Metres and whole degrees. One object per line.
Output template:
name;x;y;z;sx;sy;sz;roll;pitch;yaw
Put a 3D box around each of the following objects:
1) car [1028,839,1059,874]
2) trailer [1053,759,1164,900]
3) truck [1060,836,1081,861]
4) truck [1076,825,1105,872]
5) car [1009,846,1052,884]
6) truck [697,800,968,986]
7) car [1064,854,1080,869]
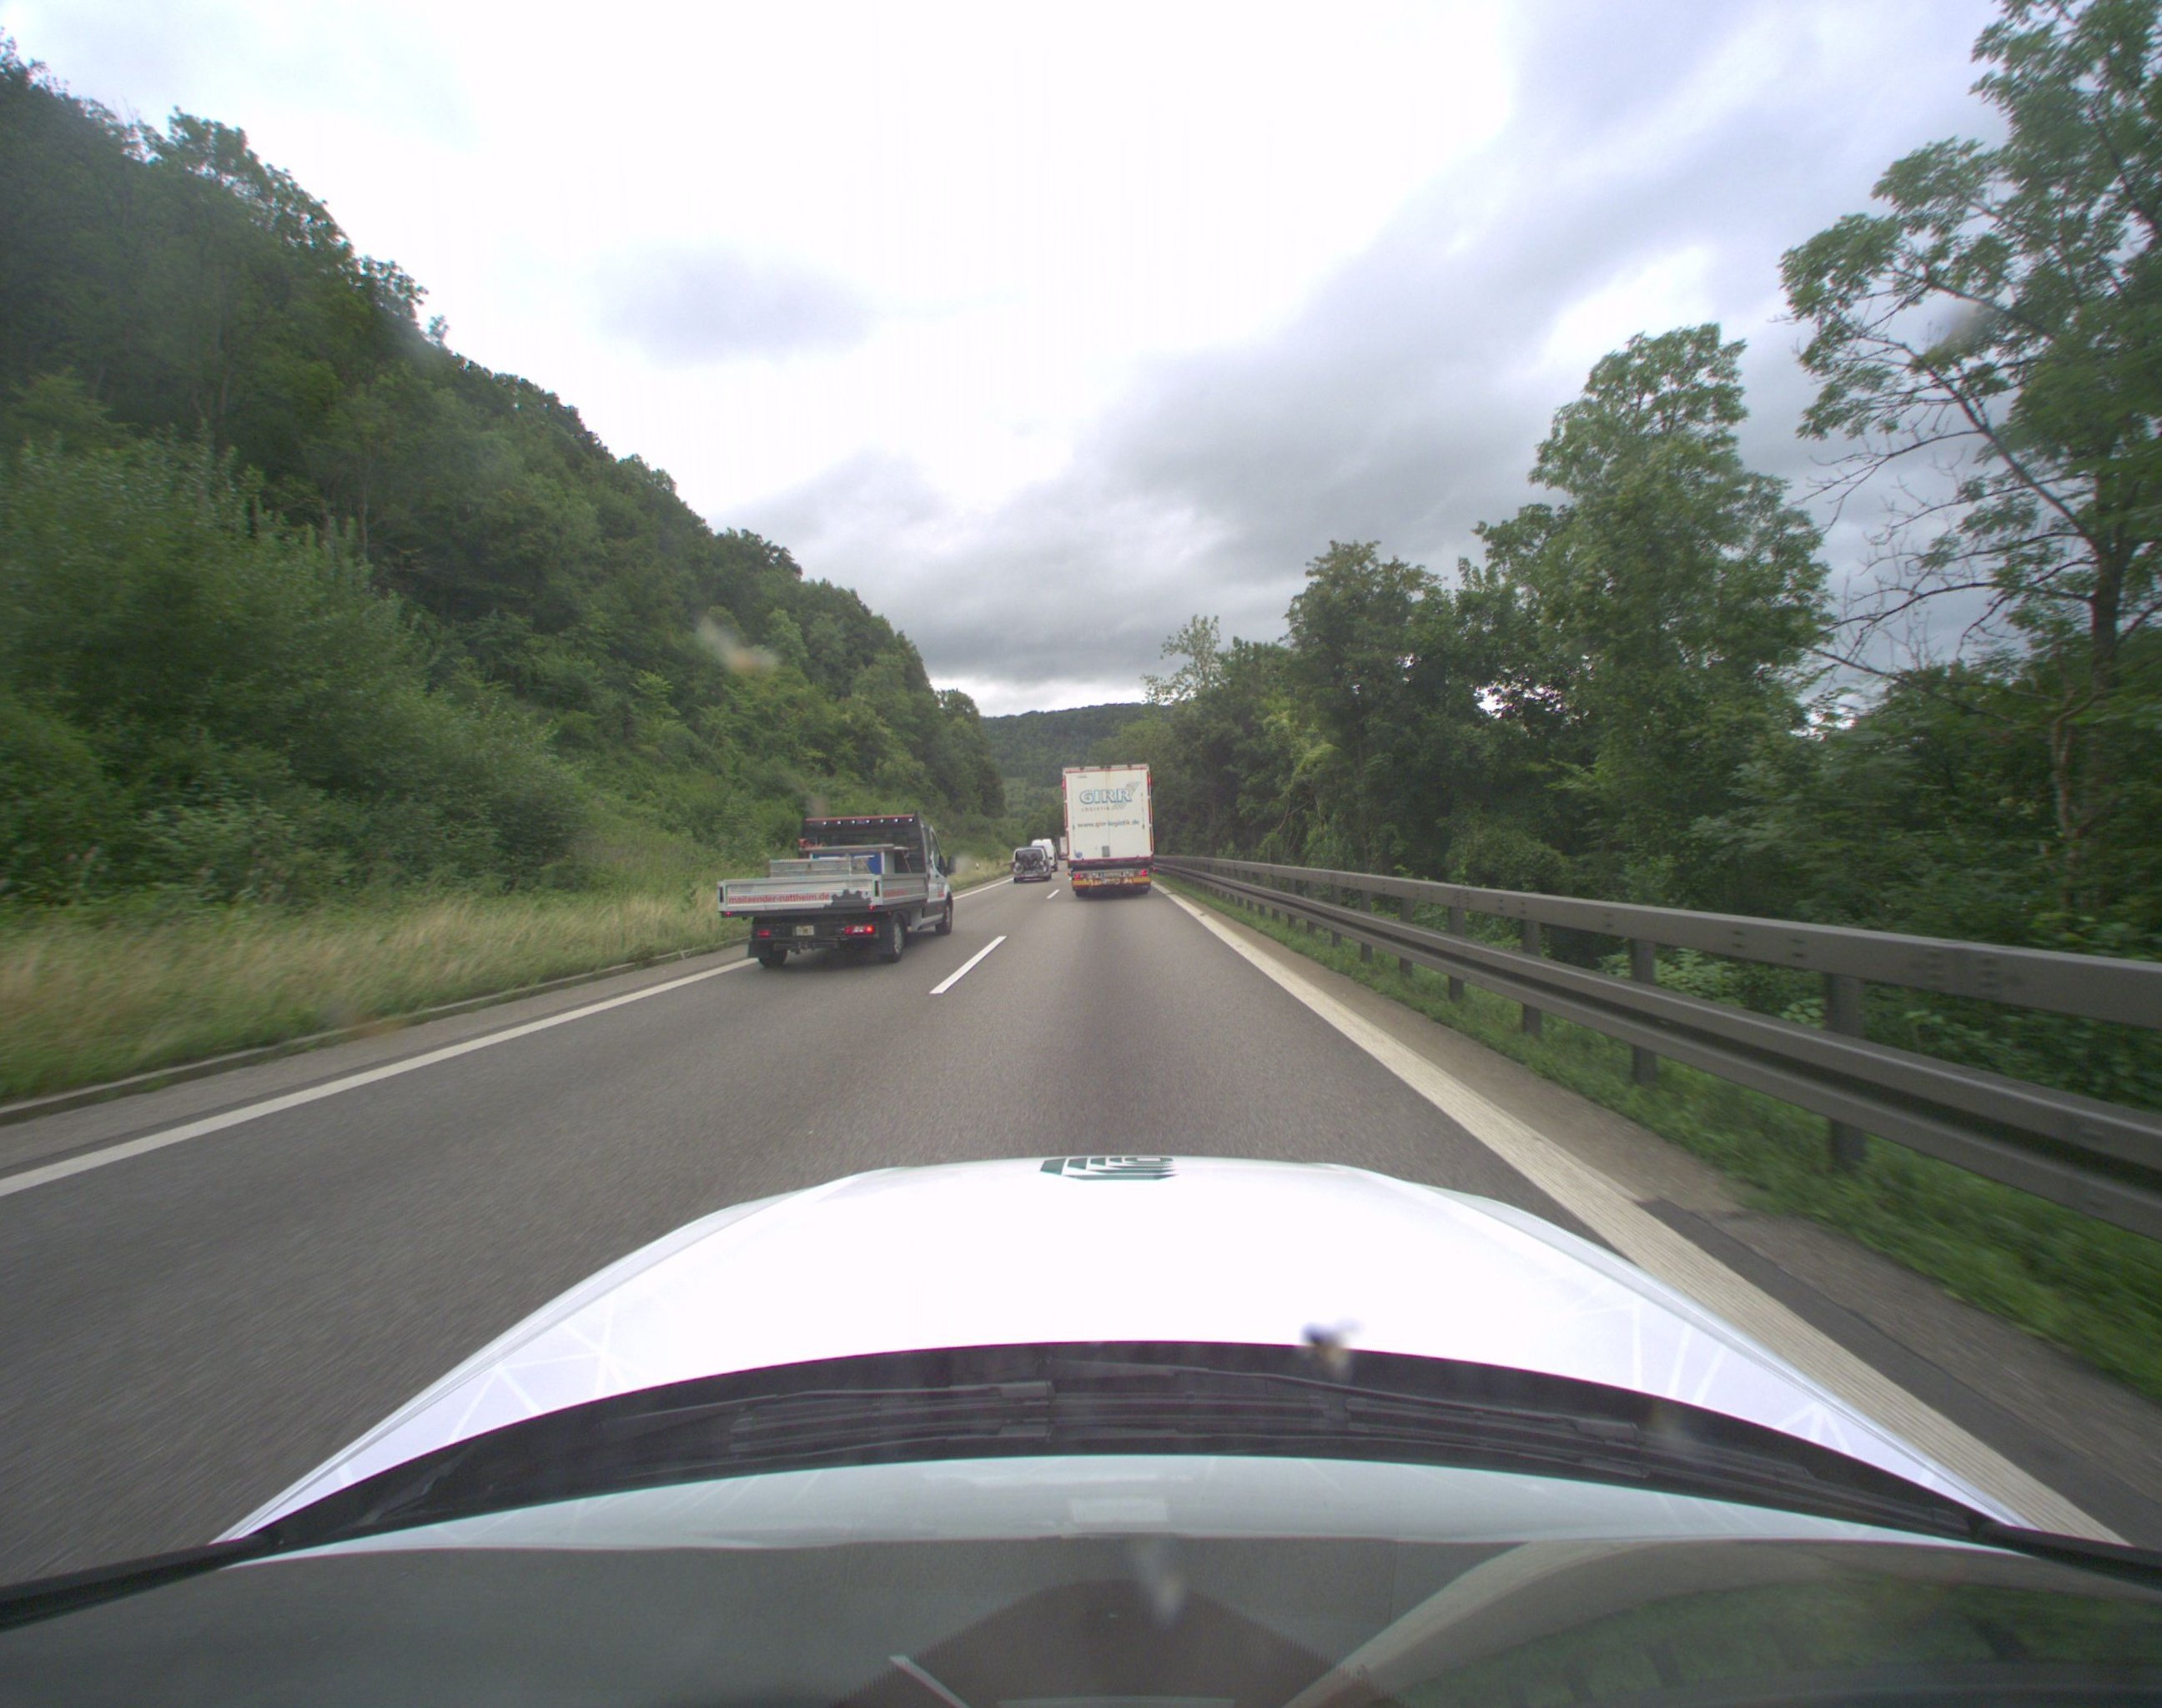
car;-2.912;0.171;65.194;2.117;2.598;5.562;-3;0;-1
trailer;0.982;-0.745;28.277;3.121;4.042;9.445;-1;0;2
truck;-1.852;-0.890;139.137;3.062;3.877;8.447;-2;0;-3
truck;0.767;-0.447;69.804;2.227;3.803;6.820;-2;0;-1
car;-2.721;0.549;45.077;2.012;1.914;5.562;-2;0;-1
truck;-3.639;0.479;13.793;2.341;2.273;6.849;-2;0;0
car;-1.355;1.106;117.865;1.990;2.013;3.994;-2;0;-4
